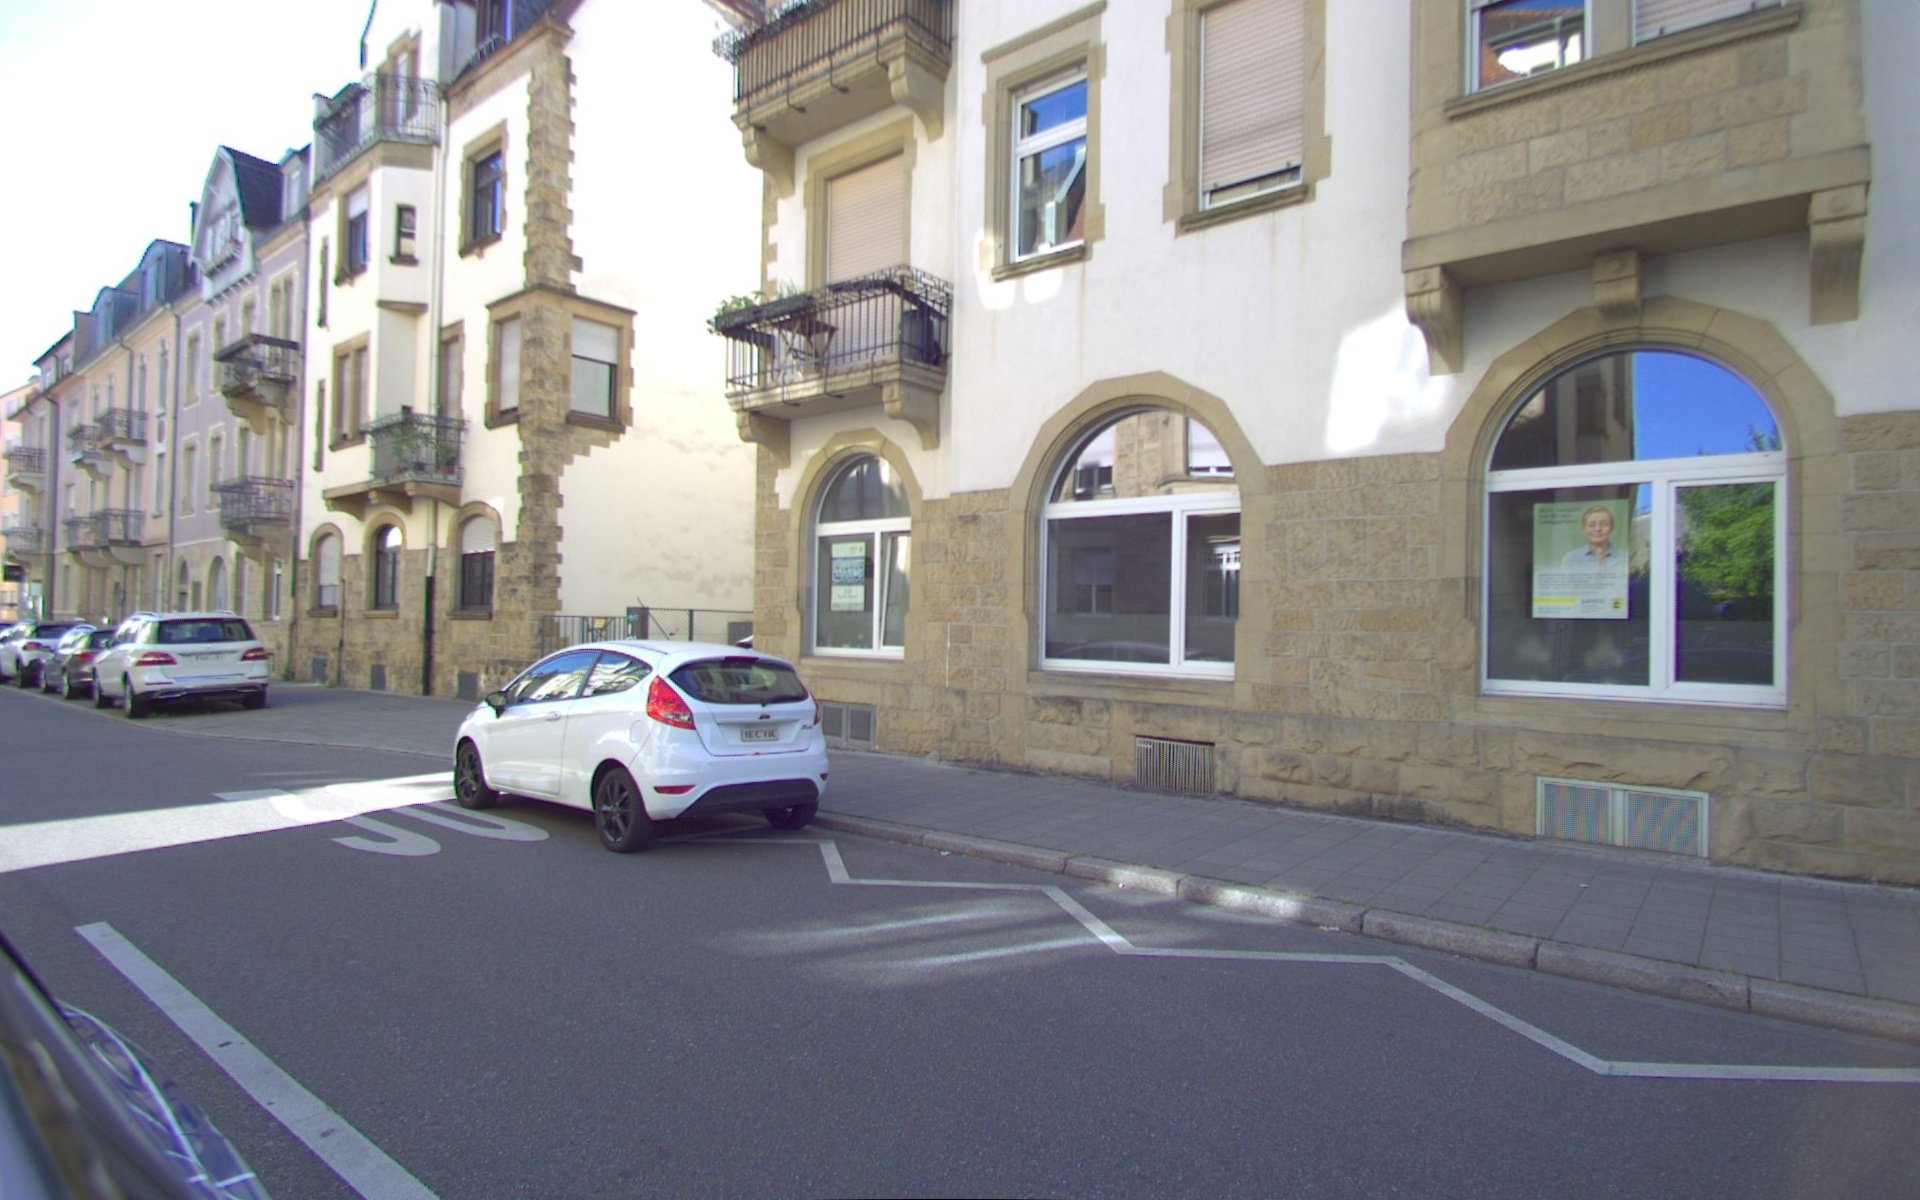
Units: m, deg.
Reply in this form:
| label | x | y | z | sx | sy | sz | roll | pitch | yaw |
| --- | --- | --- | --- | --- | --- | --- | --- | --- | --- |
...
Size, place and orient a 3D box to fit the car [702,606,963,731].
| label | x | y | z | sx | sy | sz | roll | pitch | yaw |
| --- | --- | --- | --- | --- | --- | --- | --- | --- | --- |
| car | -1.939 | 1.050 | 16.322 | 1.908 | 1.741 | 3.928 | -2 | -3 | 40 |

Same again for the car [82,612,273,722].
| label | x | y | z | sx | sy | sz | roll | pitch | yaw |
| --- | --- | --- | --- | --- | --- | --- | --- | --- | --- |
| car | -14.120 | 1.107 | 18.156 | 4.724 | 1.735 | 1.872 | -1 | -2 | 42 |

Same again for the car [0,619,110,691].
| label | x | y | z | sx | sy | sz | roll | pitch | yaw |
| --- | --- | --- | --- | --- | --- | --- | --- | --- | --- |
| car | -22.864 | 1.323 | 25.270 | 4.015 | 1.595 | 1.698 | -1 | 1 | 38 |

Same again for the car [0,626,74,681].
| label | x | y | z | sx | sy | sz | roll | pitch | yaw |
| --- | --- | --- | --- | --- | --- | --- | --- | --- | --- |
| car | -26.883 | 1.502 | 28.842 | 3.658 | 1.404 | 1.658 | -1 | 1 | 36 |

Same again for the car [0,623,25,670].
| label | x | y | z | sx | sy | sz | roll | pitch | yaw |
| --- | --- | --- | --- | --- | --- | --- | --- | --- | --- |
| car | -33.064 | 1.566 | 34.121 | 3.719 | 1.550 | 1.698 | -1 | -2 | 38 |

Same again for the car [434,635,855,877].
| label | x | y | z | sx | sy | sz | roll | pitch | yaw |
| --- | --- | --- | --- | --- | --- | --- | --- | --- | --- |
| car | -2.701 | 1.047 | 8.232 | 3.734 | 1.475 | 1.616 | -1 | -2 | 43 |

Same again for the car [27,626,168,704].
| label | x | y | z | sx | sy | sz | roll | pitch | yaw |
| --- | --- | --- | --- | --- | --- | --- | --- | --- | --- |
| car | -18.619 | 1.327 | 21.787 | 4.275 | 1.498 | 1.558 | -1 | -1 | 39 |
